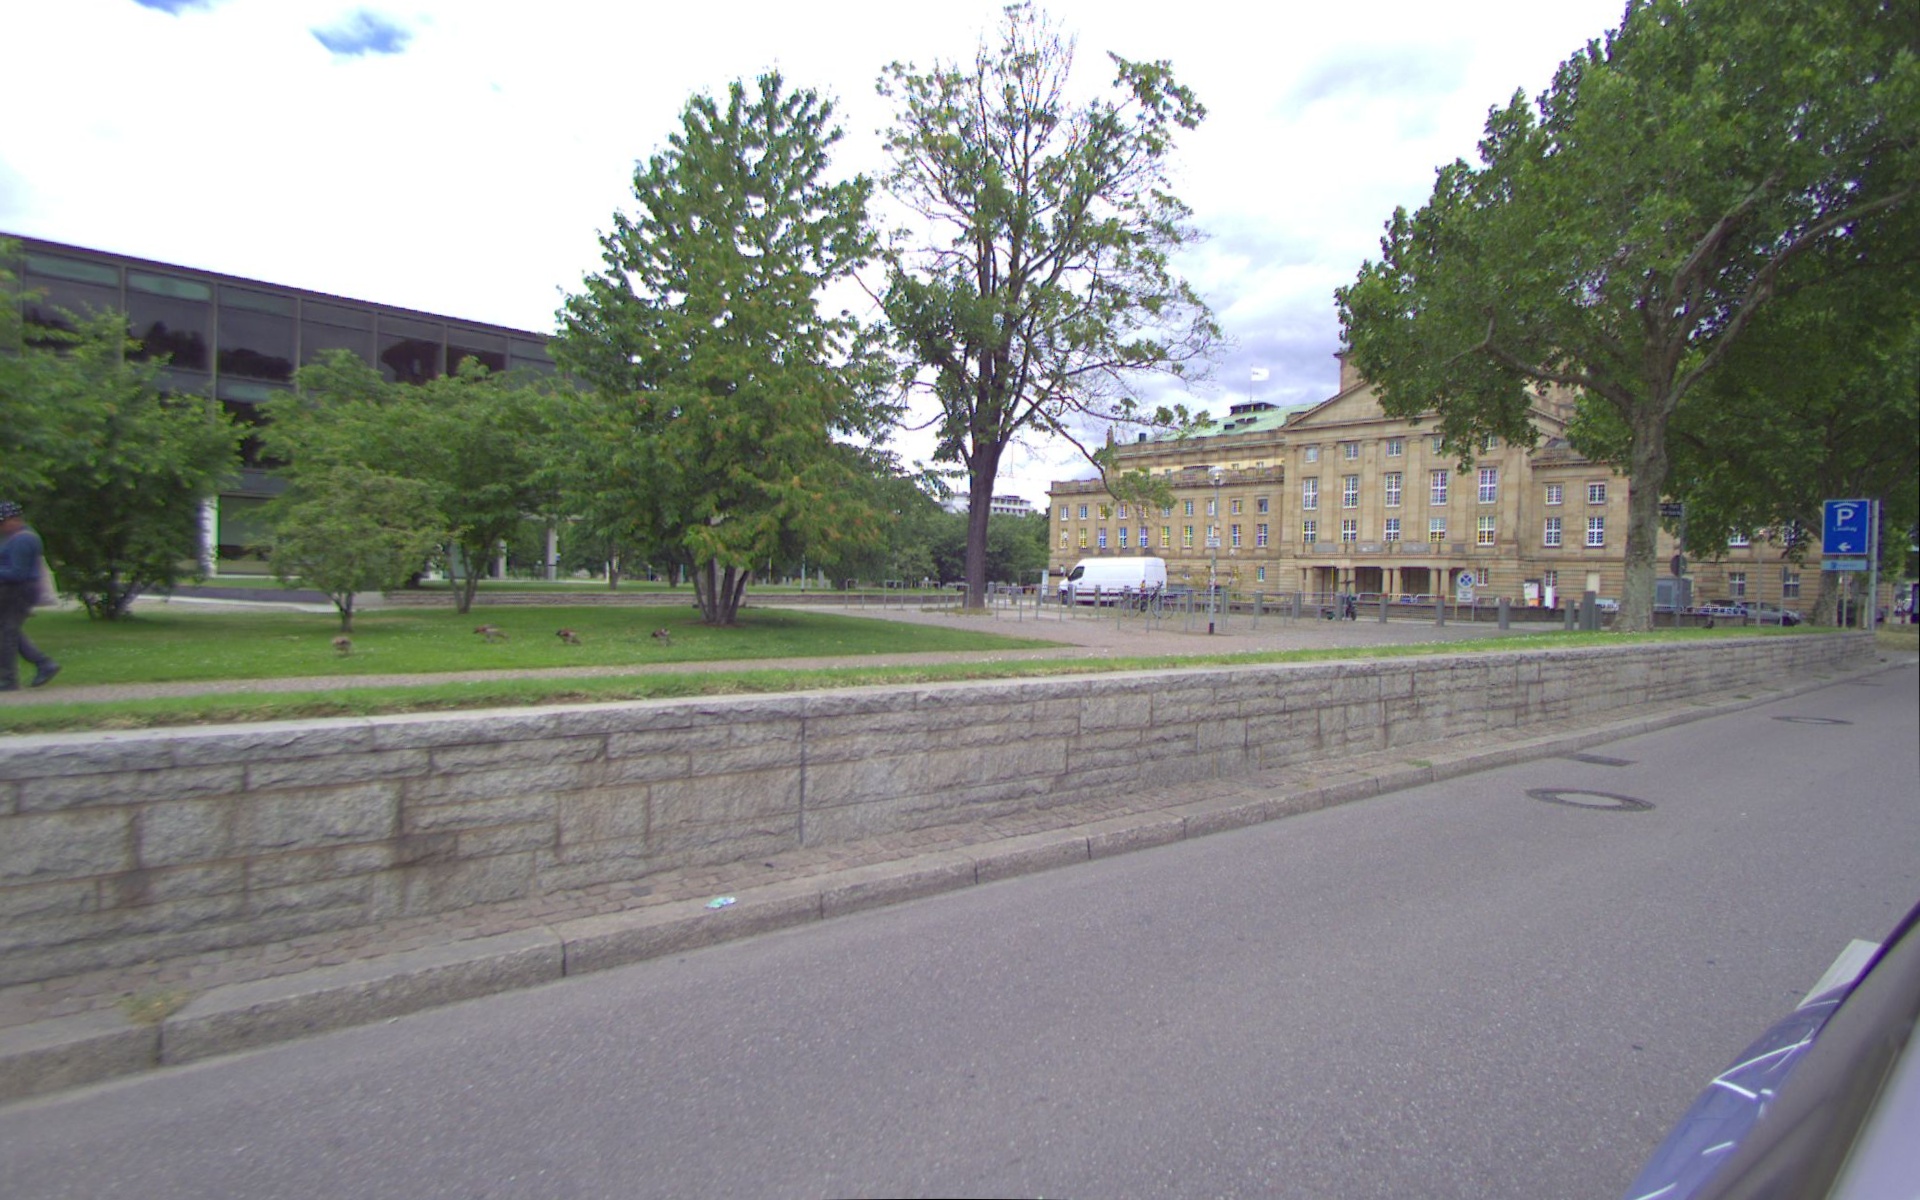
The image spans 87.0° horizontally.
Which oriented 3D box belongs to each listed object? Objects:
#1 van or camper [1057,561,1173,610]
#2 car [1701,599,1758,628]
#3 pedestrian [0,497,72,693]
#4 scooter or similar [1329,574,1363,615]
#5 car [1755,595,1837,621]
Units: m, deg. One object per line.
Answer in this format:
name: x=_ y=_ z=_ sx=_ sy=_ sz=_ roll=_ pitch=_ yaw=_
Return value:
van or camper: x=7.772 y=-0.755 z=51.351 sx=2.281 sy=2.348 sz=5.705 roll=-1 pitch=1 yaw=-42
car: x=44.061 y=0.778 z=57.926 sx=4.142 sy=1.537 sz=1.767 roll=3 pitch=0 yaw=-41
pedestrian: x=-8.241 y=-0.054 z=8.826 sx=0.614 sy=1.646 sz=0.805 roll=1 pitch=1 yaw=-34
scooter or similar: x=12.125 y=-0.178 z=31.801 sx=0.716 sy=1.261 sz=0.717 roll=0 pitch=4 yaw=-43
car: x=53.891 y=0.532 z=65.286 sx=3.986 sy=1.616 sz=1.708 roll=-1 pitch=-1 yaw=43
